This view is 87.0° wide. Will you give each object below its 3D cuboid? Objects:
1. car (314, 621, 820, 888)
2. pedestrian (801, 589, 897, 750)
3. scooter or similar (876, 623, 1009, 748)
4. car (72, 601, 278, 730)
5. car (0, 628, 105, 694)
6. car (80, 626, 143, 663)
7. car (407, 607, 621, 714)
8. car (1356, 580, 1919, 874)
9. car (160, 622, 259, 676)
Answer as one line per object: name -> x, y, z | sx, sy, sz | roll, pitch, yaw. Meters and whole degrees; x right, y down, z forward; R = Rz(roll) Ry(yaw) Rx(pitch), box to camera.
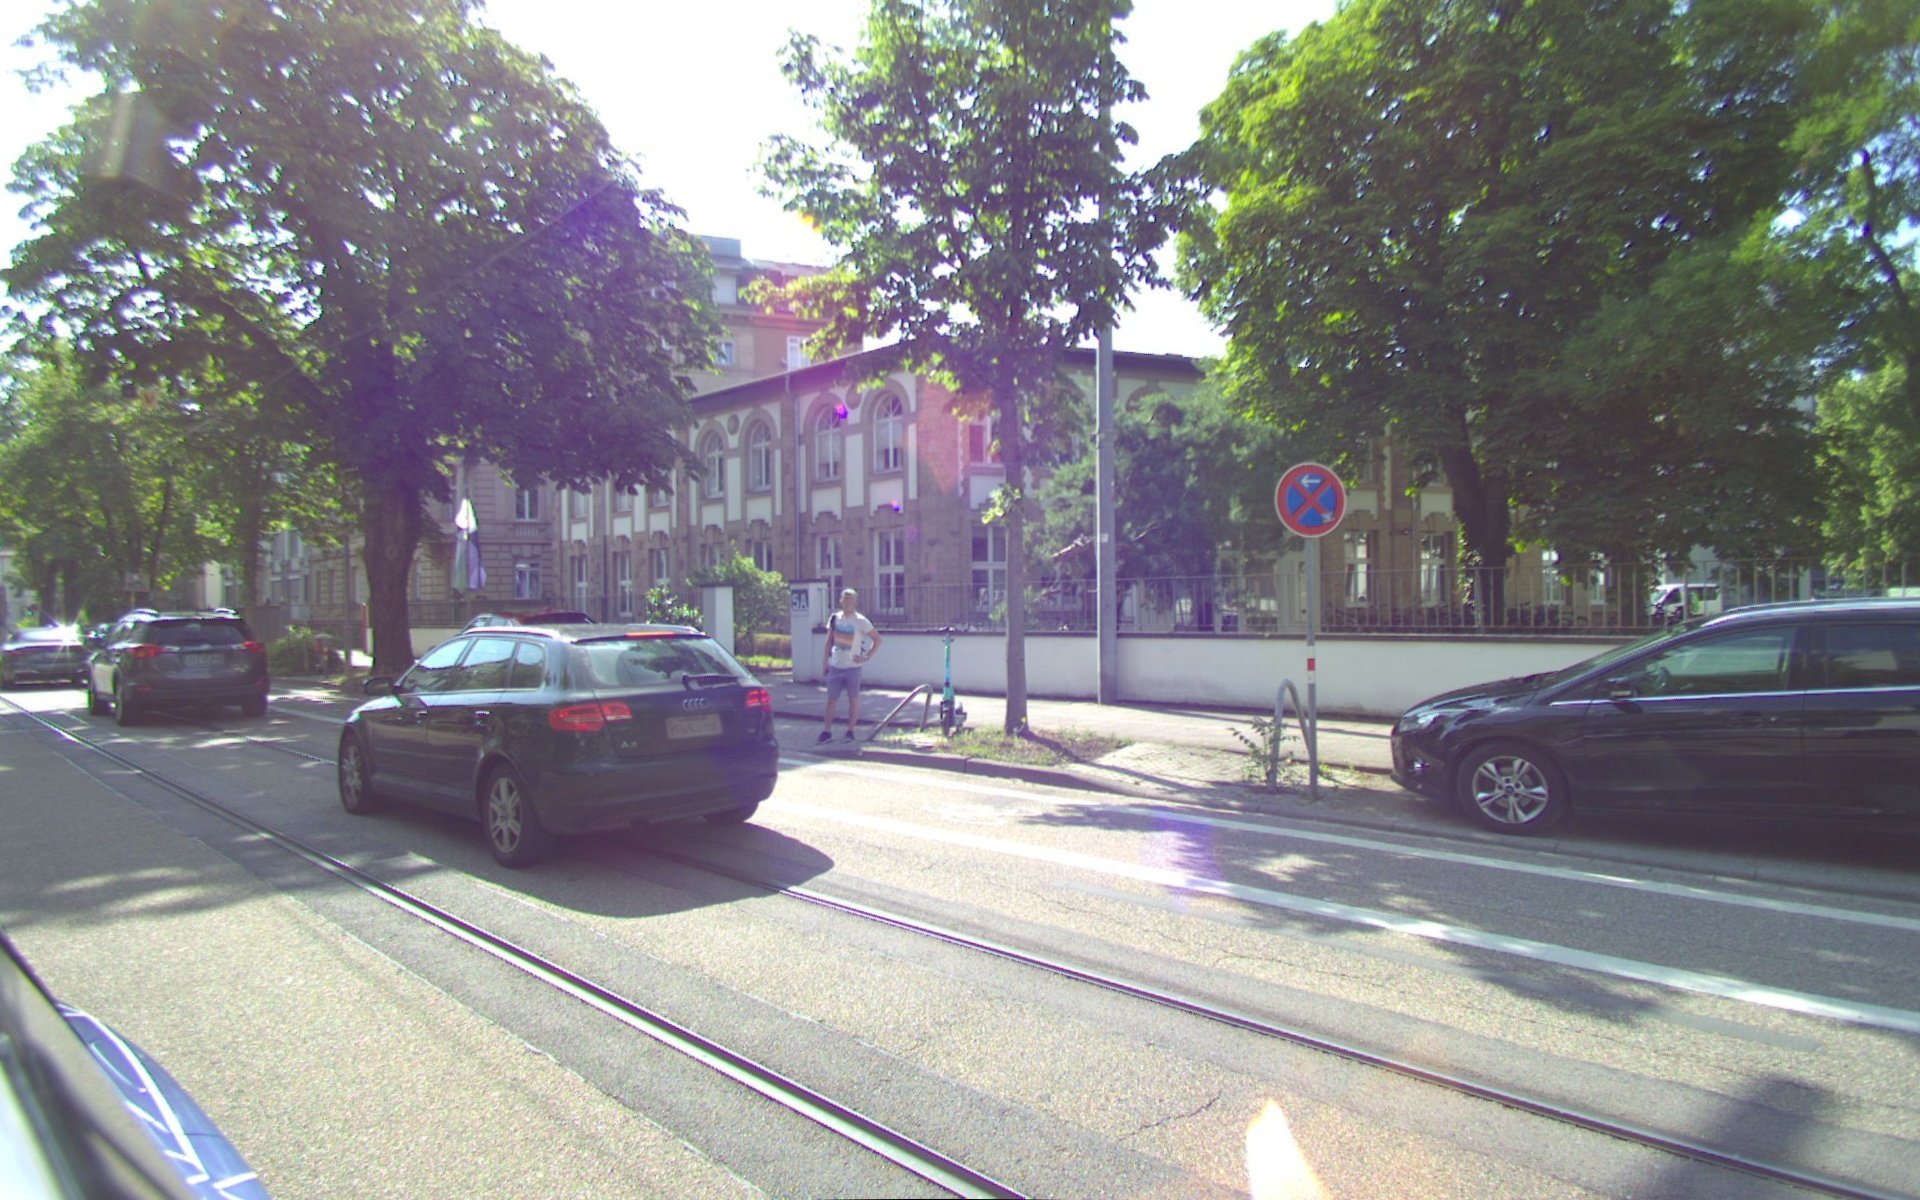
car -> -2.970, 0.852, 7.236 | 3.998, 1.386, 1.705 | -1, -2, 41
pedestrian -> -1.283, 0.775, 11.745 | 0.750, 1.780, 0.782 | -1, 1, 32
scooter or similar -> -0.189, 0.941, 11.714 | 0.854, 1.289, 1.325 | -1, 1, 40
car -> -12.374, 0.966, 15.850 | 4.390, 1.740, 1.806 | -2, -2, 42
car -> -21.769, 1.385, 23.933 | 4.424, 1.399, 1.780 | -2, -2, 42
car -> -39.088, 2.020, 46.595 | 3.807, 1.496, 1.637 | -1, 1, 41
car -> -8.285, 1.015, 18.584 | 4.718, 1.678, 1.732 | -1, 1, 41
car -> 5.128, 0.666, 6.379 | 4.587, 1.527, 1.732 | -1, 1, 39
car -> -25.429, 1.597, 34.248 | 4.330, 1.653, 1.788 | -1, 1, 41
